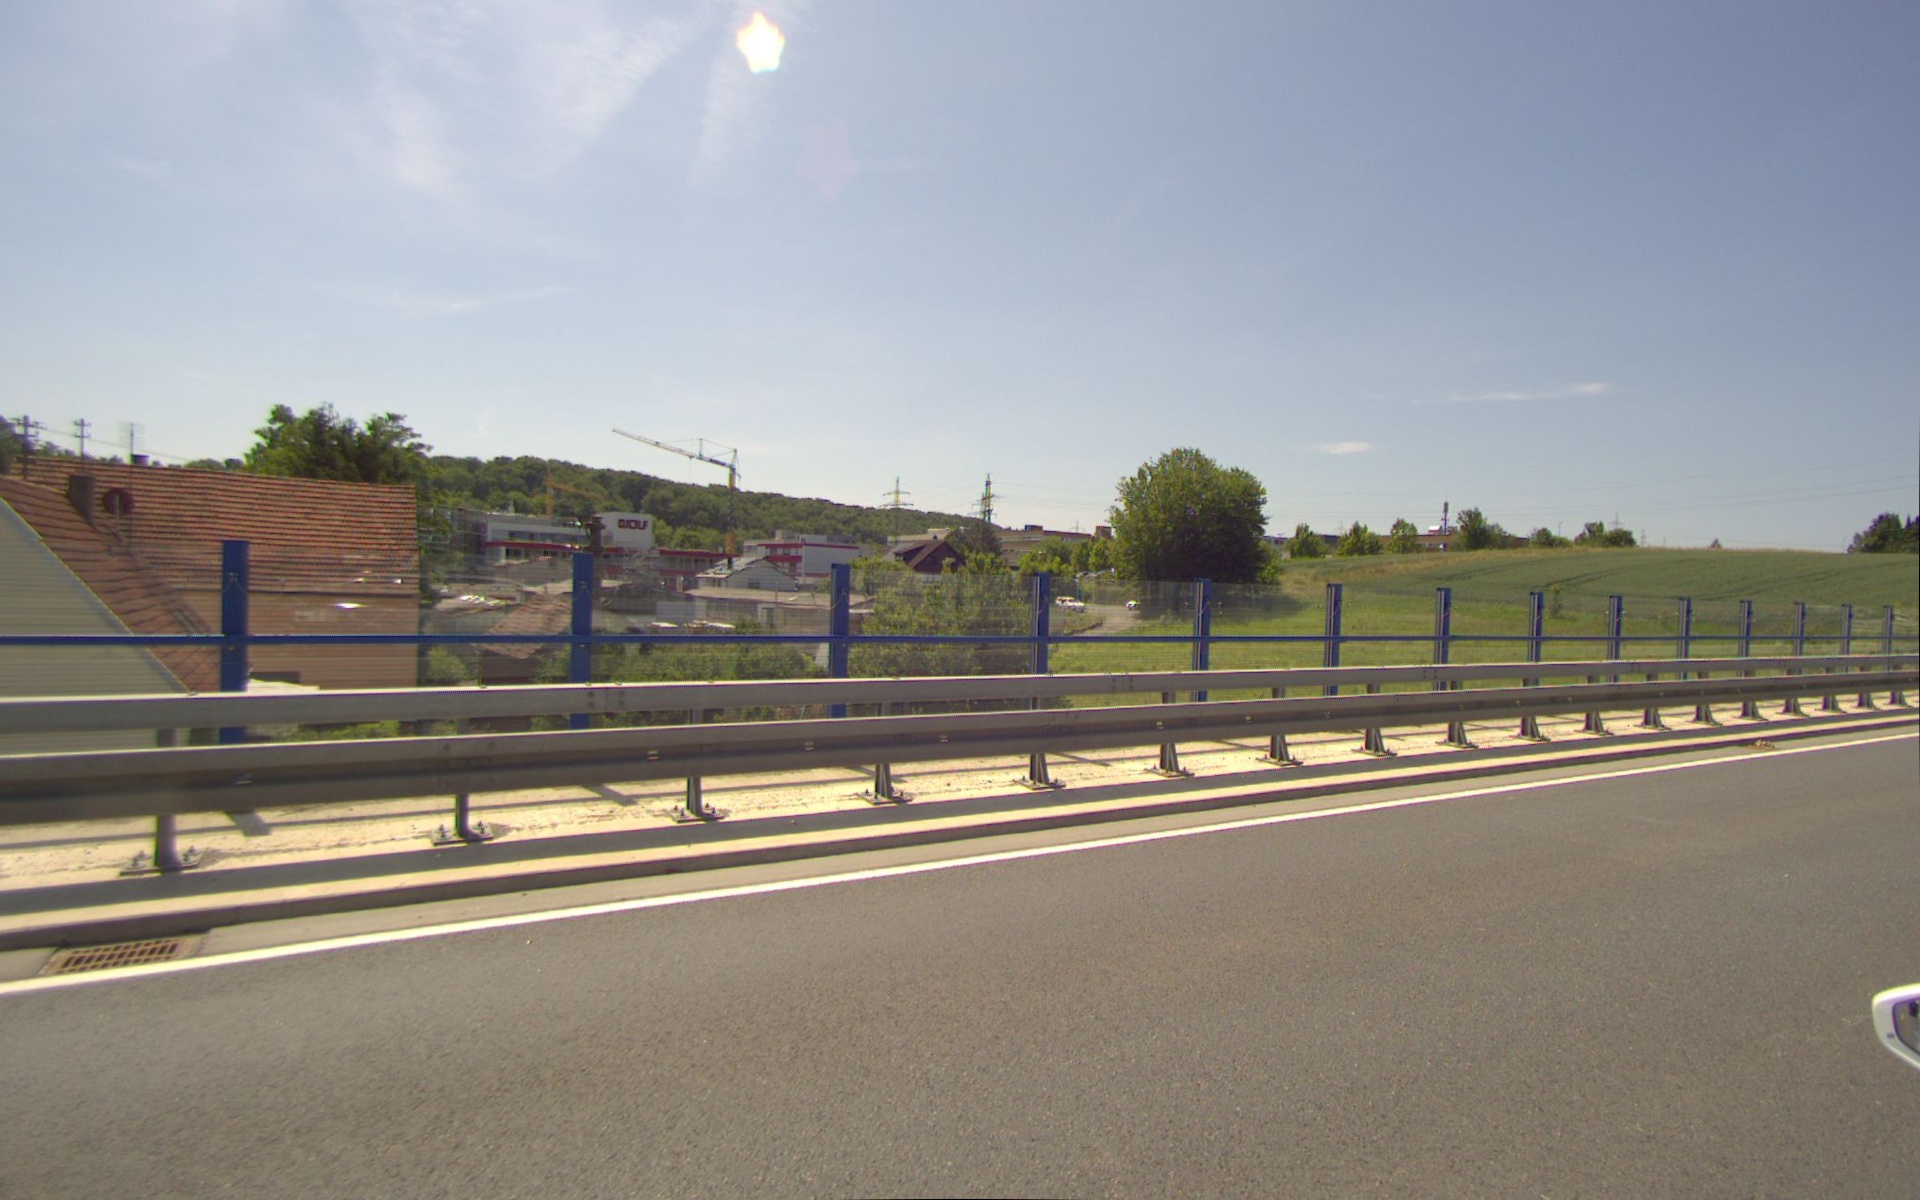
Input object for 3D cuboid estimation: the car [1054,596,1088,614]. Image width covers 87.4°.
[{"bbox_3d":[11.742,0.513,106.640,1.808,1.625,3.973,-3,5,-25],"label":"car"}]
